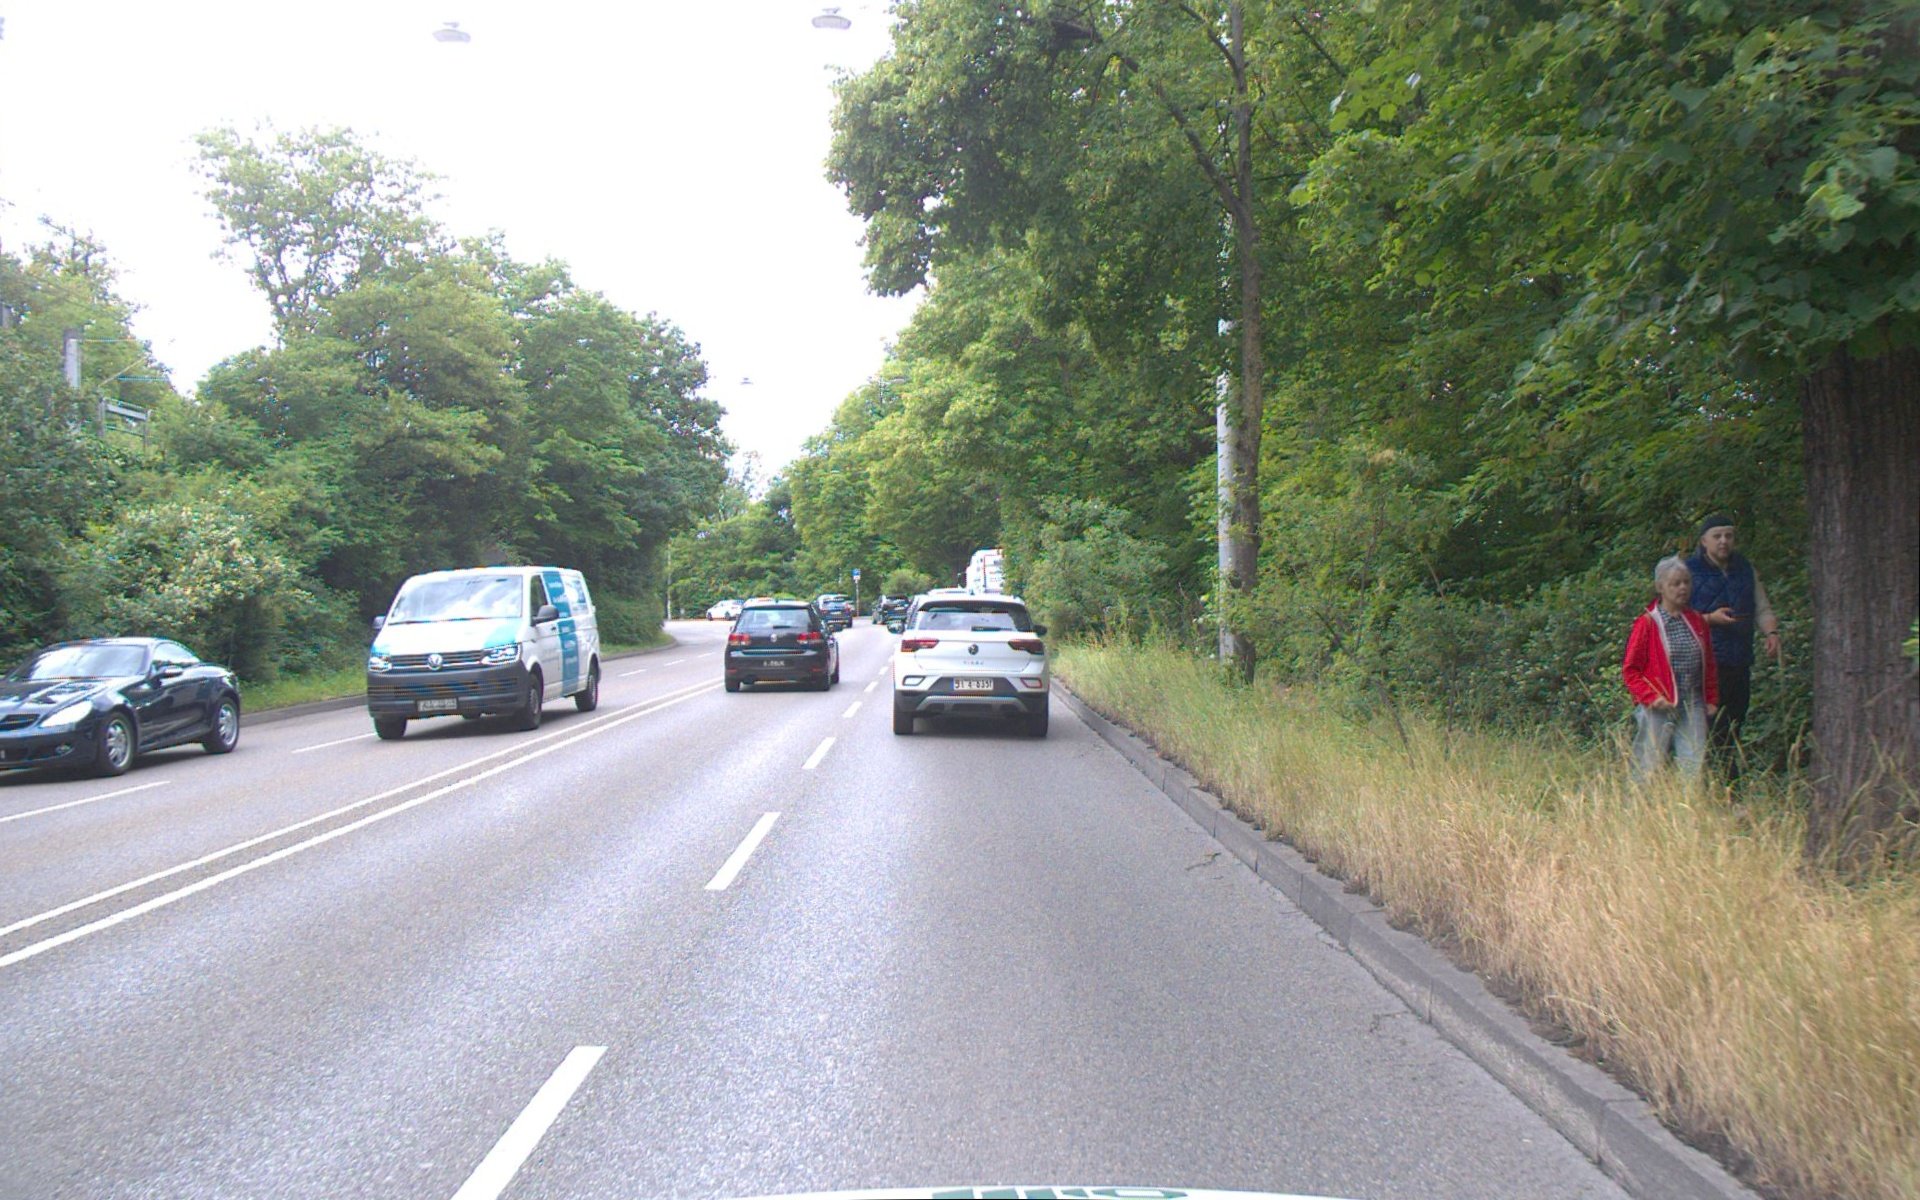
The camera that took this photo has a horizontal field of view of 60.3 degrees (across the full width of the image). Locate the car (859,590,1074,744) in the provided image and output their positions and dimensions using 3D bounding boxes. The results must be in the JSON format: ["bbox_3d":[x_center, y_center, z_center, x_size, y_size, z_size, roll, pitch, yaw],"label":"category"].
[{"bbox_3d":[-0.043,0.725,19.568,1.963,1.624,3.992,1,0,-8],"label":"car"}]

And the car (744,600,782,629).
[{"bbox_3d":[-11.549,0.849,97.249,1.784,1.651,3.999,0,0,-1],"label":"car"}]

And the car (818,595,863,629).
[{"bbox_3d":[-5.884,0.567,81.621,1.953,1.620,3.999,0,0,-1],"label":"car"}]

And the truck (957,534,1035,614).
[{"bbox_3d":[1.568,-1.112,75.525,2.435,3.236,7.219,5,-1,-6],"label":"truck"}]

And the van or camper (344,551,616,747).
[{"bbox_3d":[-5.908,0.561,21.121,1.954,2.048,5.366,-4,0,-2],"label":"van or camper"}]

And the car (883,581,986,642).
[{"bbox_3d":[-0.847,0.345,51.422,1.826,1.732,3.973,-3,1,-22],"label":"car"}]

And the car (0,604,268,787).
[{"bbox_3d":[-8.821,0.900,16.994,1.701,1.624,4.068,-3,0,-1],"label":"car"}]

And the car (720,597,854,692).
[{"bbox_3d":[-2.884,0.720,28.298,1.909,1.492,3.999,0,0,-1],"label":"car"}]

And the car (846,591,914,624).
[{"bbox_3d":[-4.086,0.399,84.029,1.750,1.635,3.954,1,-1,-33],"label":"car"}]

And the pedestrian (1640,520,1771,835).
[{"bbox_3d":[4.342,0.442,9.652,0.509,1.784,0.524,1,-1,-4],"label":"pedestrian"}]

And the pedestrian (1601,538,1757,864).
[{"bbox_3d":[3.930,0.541,9.067,0.597,1.727,0.548,1,-1,-4],"label":"pedestrian"}]
